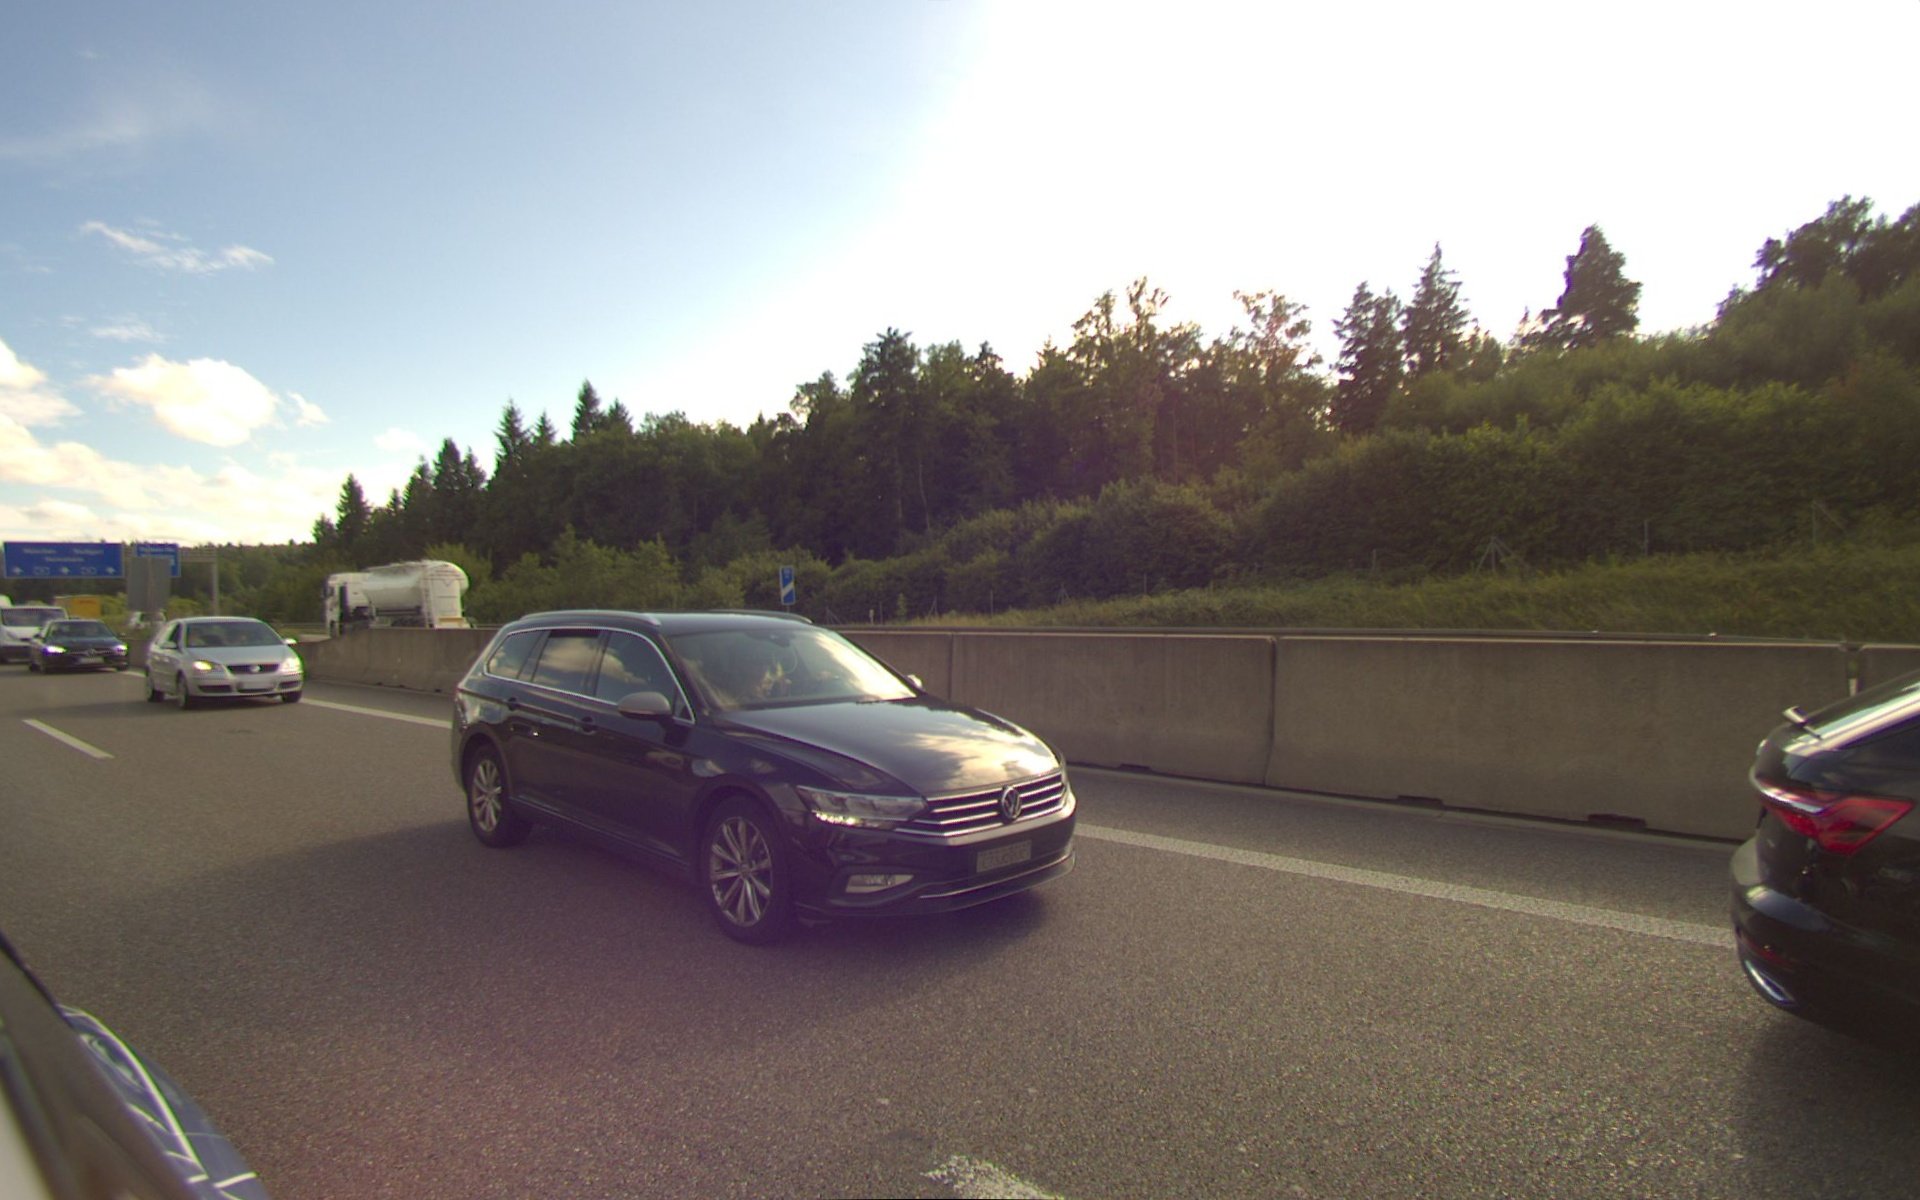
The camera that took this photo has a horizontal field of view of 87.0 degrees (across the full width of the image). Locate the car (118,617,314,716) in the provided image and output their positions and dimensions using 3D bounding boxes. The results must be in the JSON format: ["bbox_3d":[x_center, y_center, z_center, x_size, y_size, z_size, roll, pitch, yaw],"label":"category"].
[{"bbox_3d":[-12.830,1.049,17.343,4.665,1.442,1.785,-1,0,42],"label":"car"}]

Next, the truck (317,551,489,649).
[{"bbox_3d":[-28.167,0.041,50.658,13.903,4.387,2.902,-1,0,41],"label":"truck"}]

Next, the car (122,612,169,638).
[{"bbox_3d":[-57.260,1.728,71.116,4.321,1.725,1.833,-1,0,41],"label":"car"}]

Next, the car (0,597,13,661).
[{"bbox_3d":[-41.685,1.225,42.662,5.859,2.591,2.027,-1,-2,42],"label":"car"}]

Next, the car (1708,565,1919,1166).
[{"bbox_3d":[4.472,0.612,1.824,4.851,1.483,1.862,-1,0,42],"label":"car"}]

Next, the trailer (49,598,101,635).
[{"bbox_3d":[-104.939,1.916,119.896,13.556,4.234,2.804,-1,0,41],"label":"trailer"}]

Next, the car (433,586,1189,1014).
[{"bbox_3d":[-1.192,0.733,5.800,4.569,1.488,1.890,-1,-1,44],"label":"car"}]

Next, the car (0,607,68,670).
[{"bbox_3d":[-32.091,1.278,34.524,4.846,1.980,1.922,-1,0,42],"label":"car"}]

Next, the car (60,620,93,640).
[{"bbox_3d":[-85.145,2.875,97.471,4.321,1.823,1.833,-1,0,41],"label":"car"}]

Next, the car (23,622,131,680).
[{"bbox_3d":[-24.492,1.362,28.025,3.992,1.442,1.785,-1,0,42],"label":"car"}]
